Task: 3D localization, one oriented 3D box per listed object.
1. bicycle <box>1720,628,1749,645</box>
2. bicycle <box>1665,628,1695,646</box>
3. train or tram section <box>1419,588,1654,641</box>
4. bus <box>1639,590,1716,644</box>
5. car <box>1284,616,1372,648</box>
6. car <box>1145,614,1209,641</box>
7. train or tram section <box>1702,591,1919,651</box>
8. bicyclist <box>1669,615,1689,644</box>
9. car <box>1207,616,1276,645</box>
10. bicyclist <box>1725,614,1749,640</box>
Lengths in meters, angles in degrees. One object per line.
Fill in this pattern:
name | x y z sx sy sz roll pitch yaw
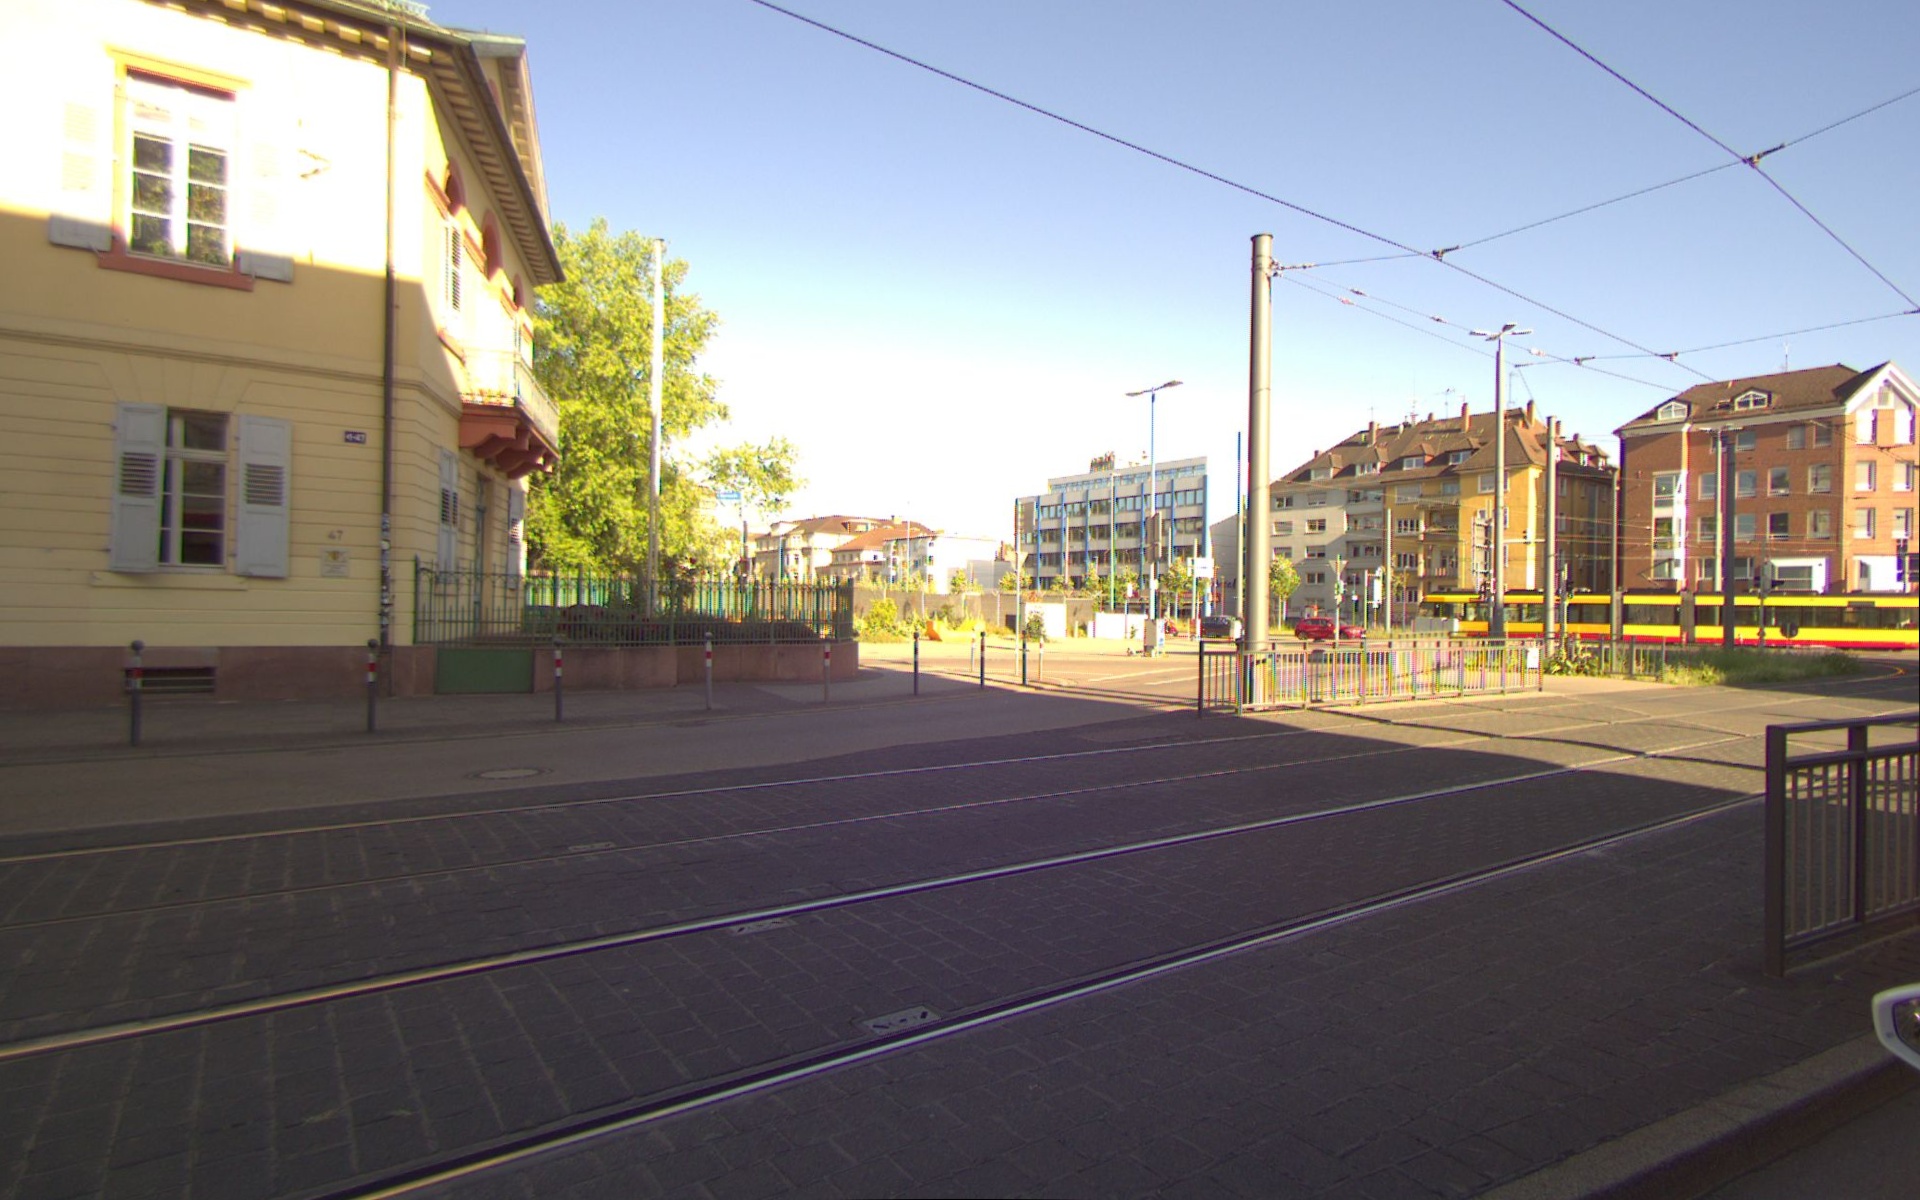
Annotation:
bicycle | 45.357 2.142 58.804 2.220 0.984 0.521 2 0 -31
bicycle | 39.689 2.045 55.369 2.220 0.984 0.444 2 0 -31
train or tram section | 38.426 0.865 67.747 2.716 3.172 13.532 2 0 -45
bus | 44.408 1.019 62.285 3.464 3.172 2.766 2 0 29
car | 21.914 1.867 59.915 1.984 1.723 4.545 2 0 -41
car | 14.790 1.851 68.589 1.895 1.708 3.916 2 0 -41
train or tram section | 50.831 1.198 59.170 11.053 3.172 2.803 2 0 24
bicyclist | 39.610 1.625 55.327 0.688 1.523 0.630 2 0 -30
car | 18.049 1.923 64.598 1.762 1.694 3.955 2 0 -39
bicyclist | 45.551 1.577 58.904 0.688 1.523 0.894 2 0 -30
